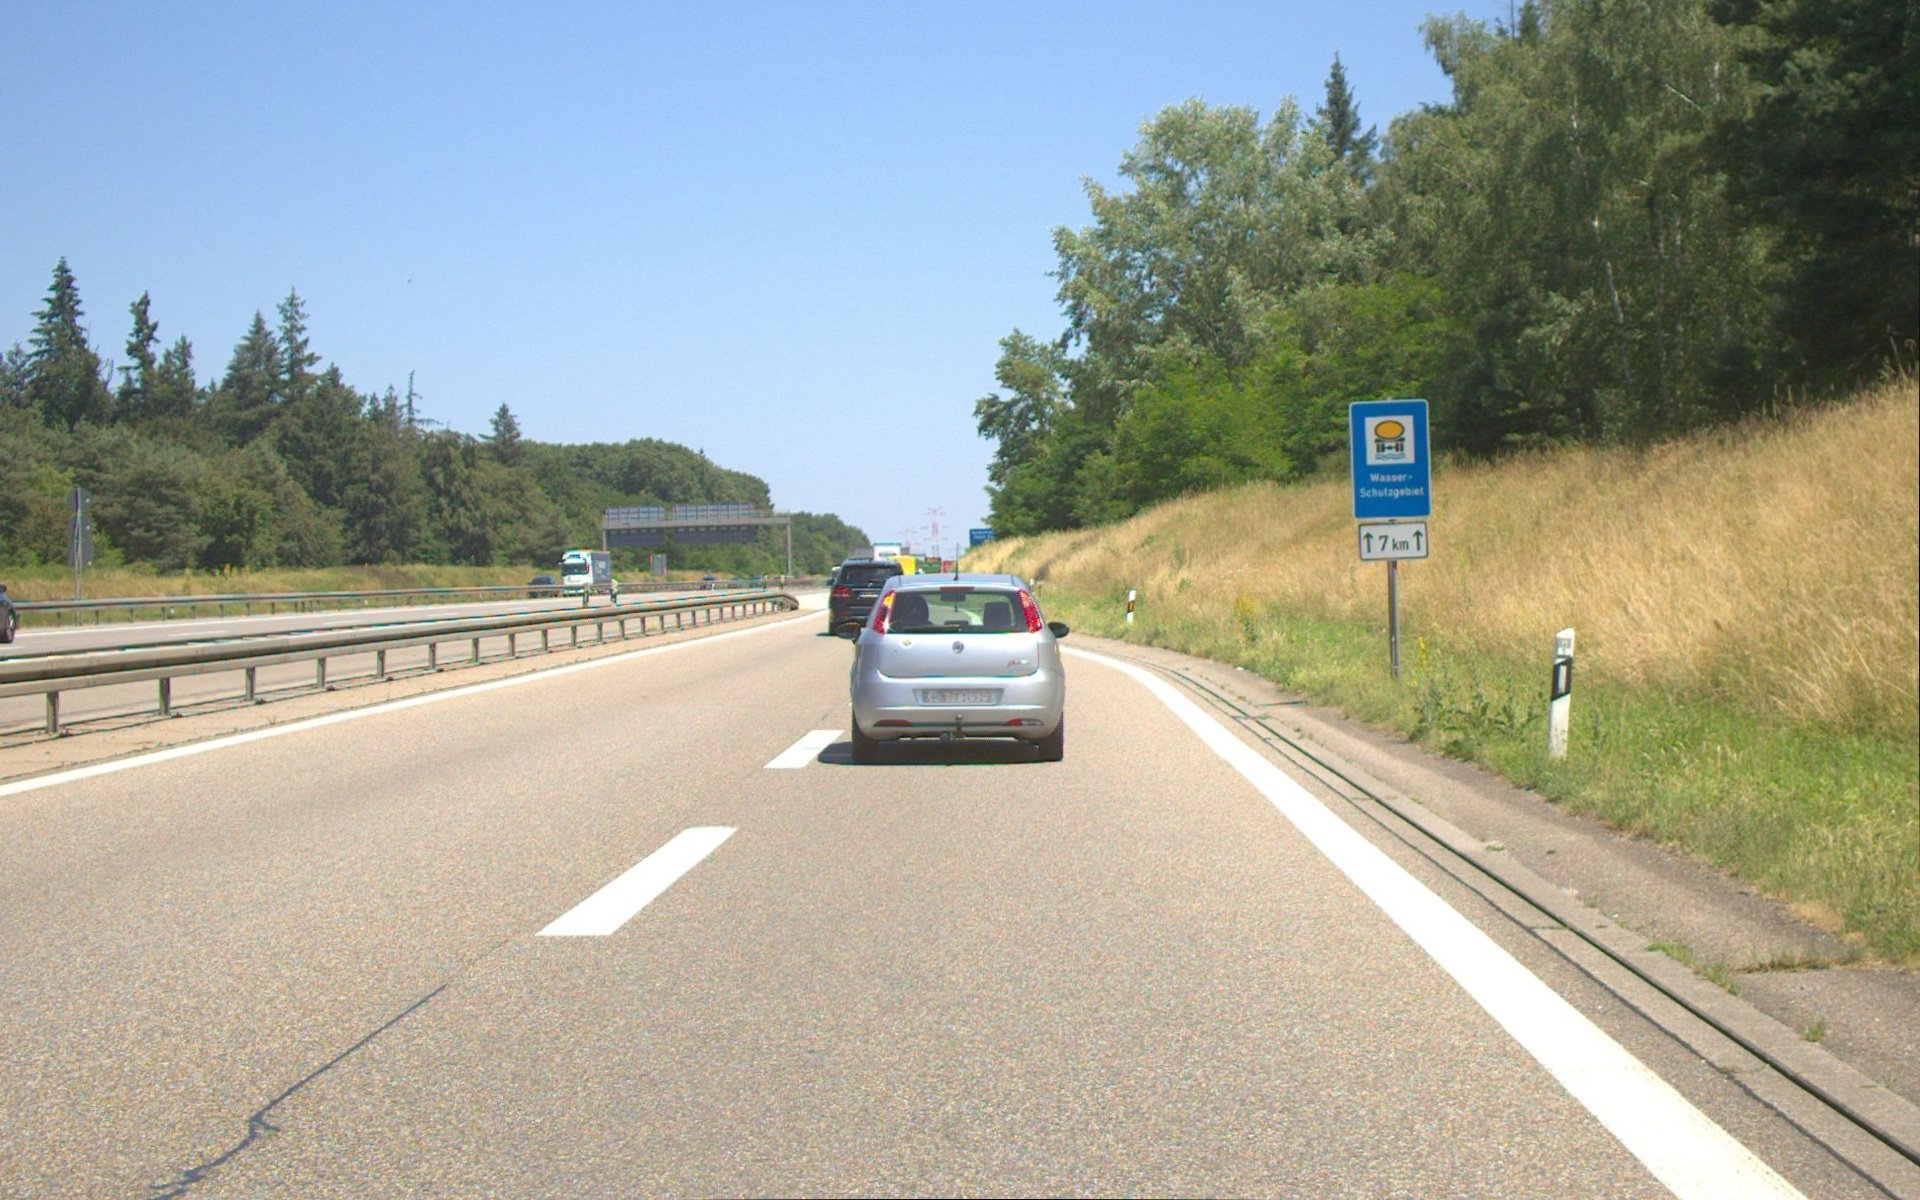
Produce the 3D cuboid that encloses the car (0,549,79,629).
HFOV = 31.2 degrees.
[{"bbox_3d":[-19.966,-0.201,72.136,1.993,1.612,4.000,-1,-1,-1],"label":"car"}]

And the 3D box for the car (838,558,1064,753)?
[{"bbox_3d":[-0.040,0.433,27.650,1.706,1.477,3.397,0,0,1],"label":"car"}]

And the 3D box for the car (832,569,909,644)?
[{"bbox_3d":[-2.089,0.168,79.599,1.706,1.670,3.398,-1,-1,-2],"label":"car"}]
